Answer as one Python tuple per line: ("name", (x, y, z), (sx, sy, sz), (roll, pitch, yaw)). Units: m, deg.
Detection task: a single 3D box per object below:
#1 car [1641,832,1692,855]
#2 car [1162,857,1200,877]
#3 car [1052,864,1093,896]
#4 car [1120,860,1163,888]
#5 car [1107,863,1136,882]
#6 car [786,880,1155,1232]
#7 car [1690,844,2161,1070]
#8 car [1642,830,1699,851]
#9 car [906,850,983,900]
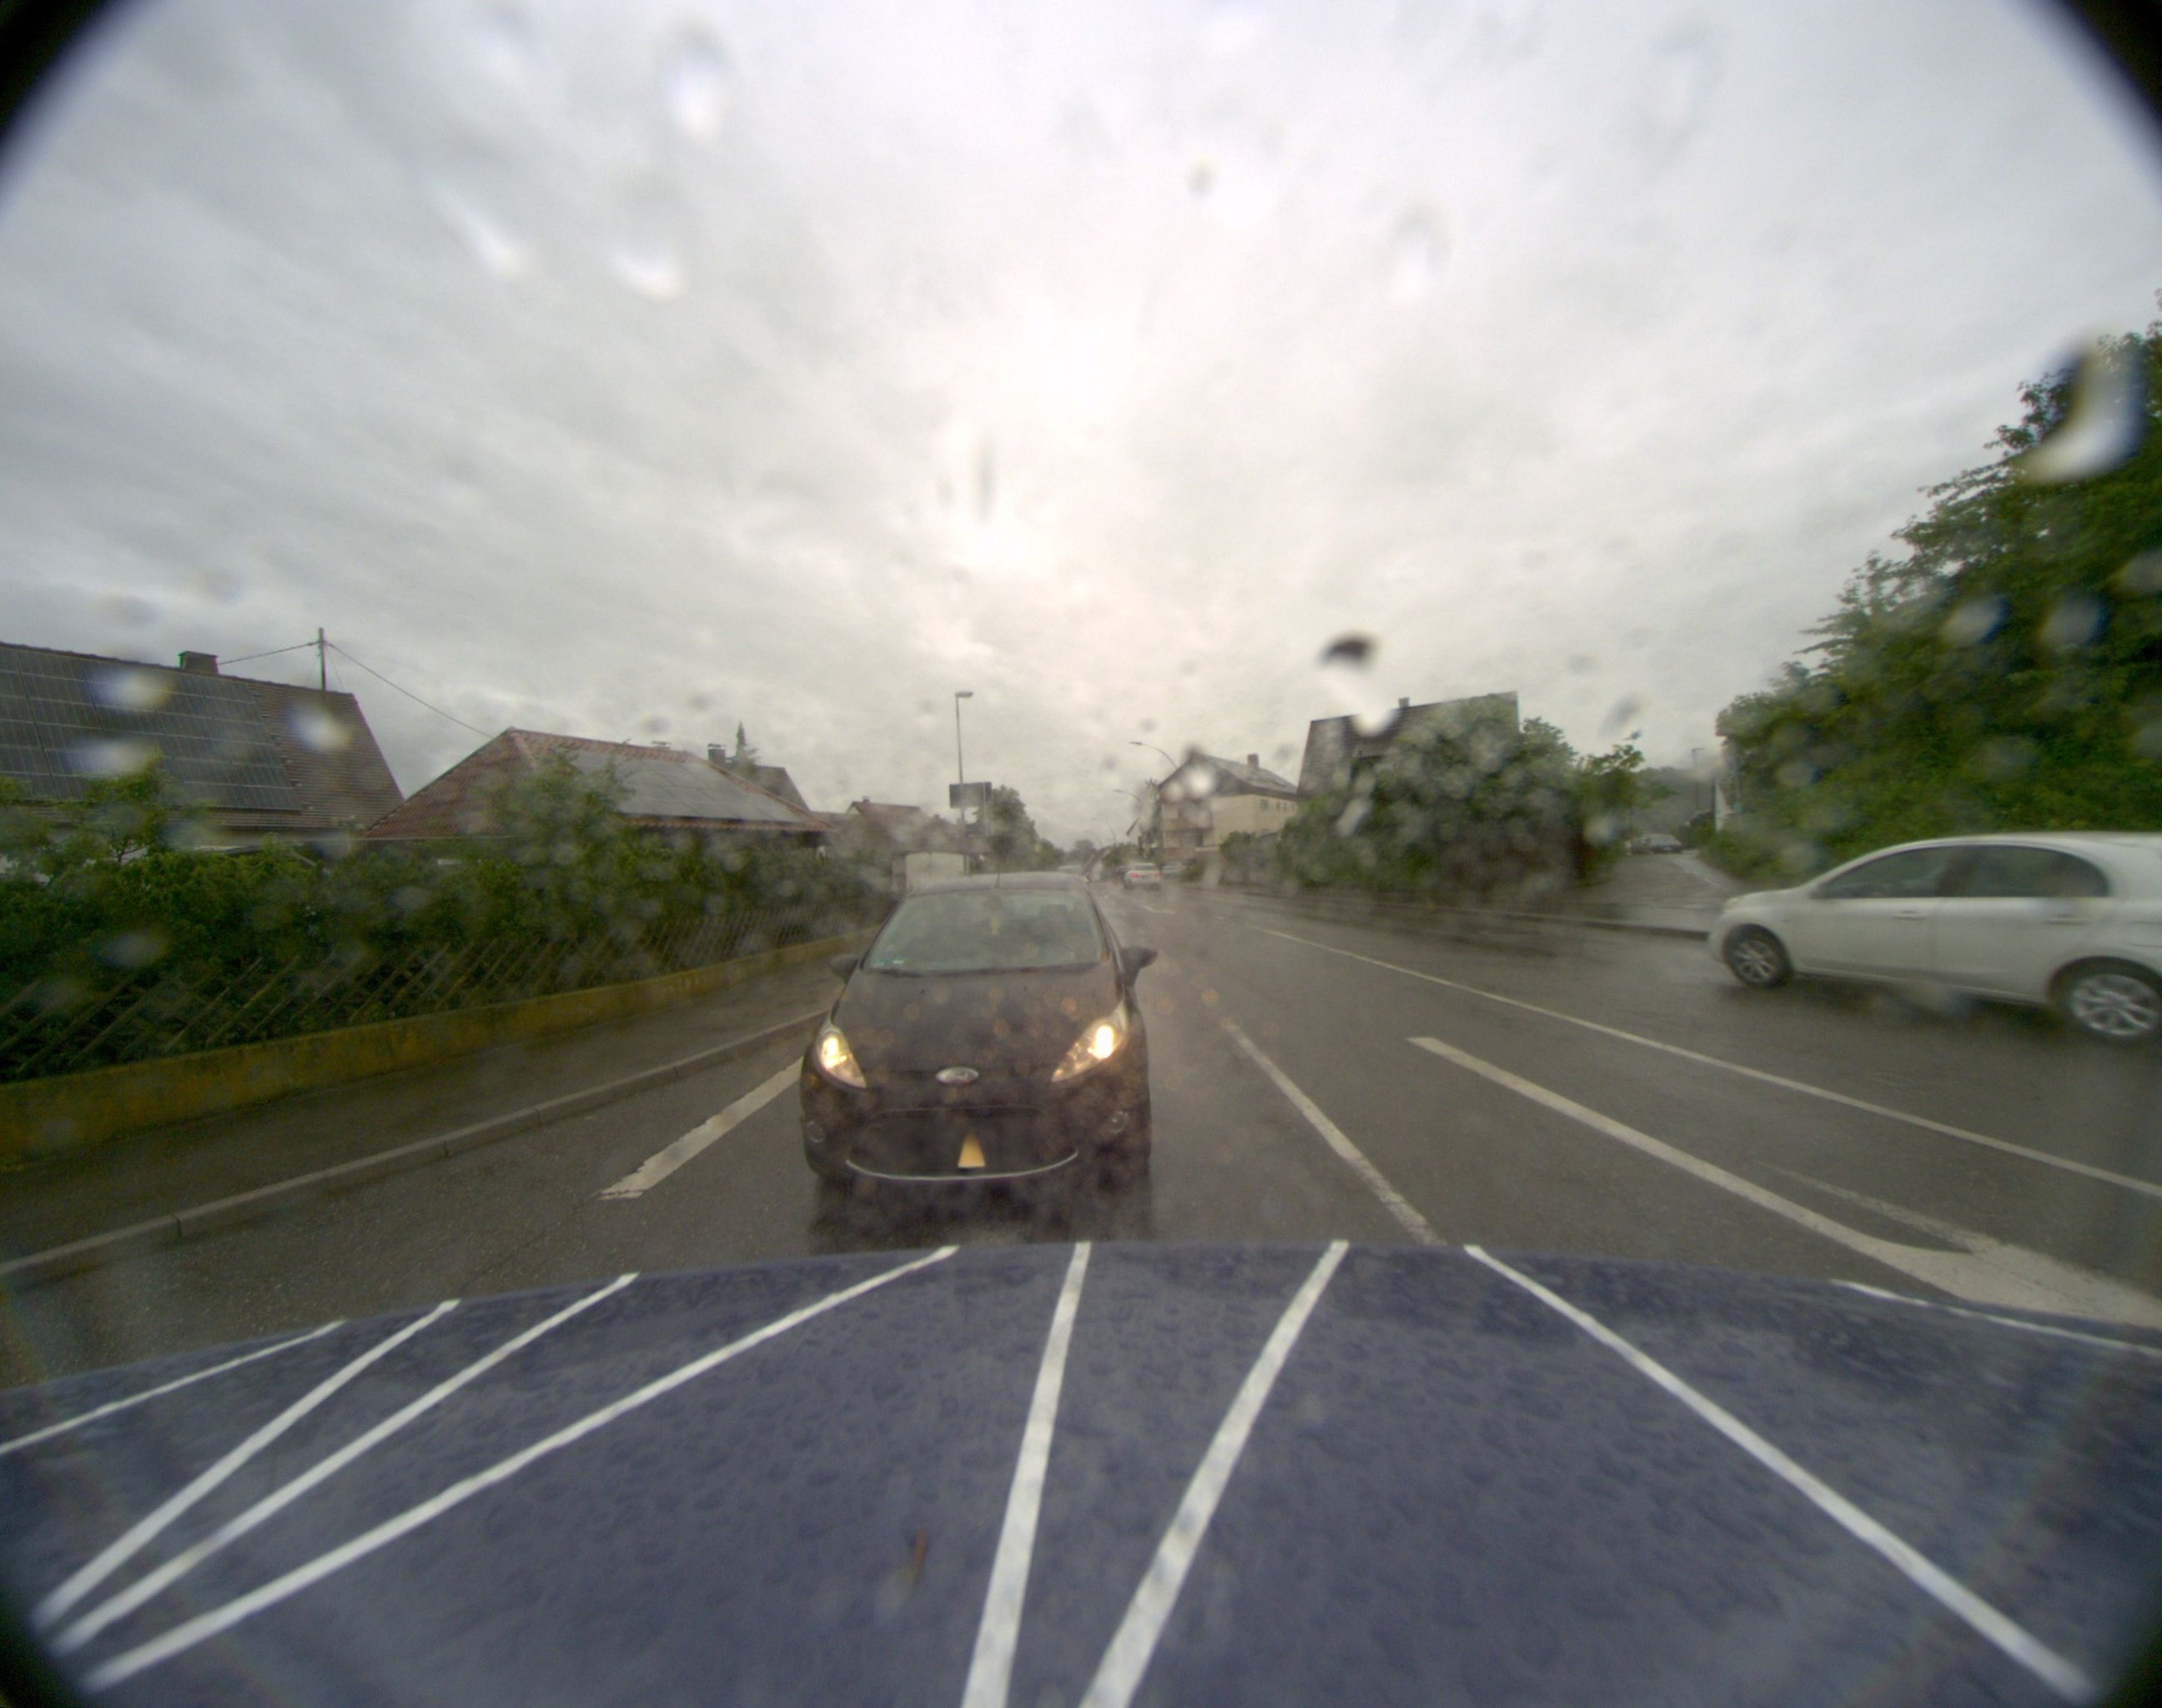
("car", (40.754, -0.745, 52.974), (1.895, 1.474, 4.007), (-2, 0, 24))
("car", (8.819, 1.106, 66.891), (1.661, 1.538, 4.007), (-2, 1, 34))
("car", (-0.475, 1.273, 38.476), (1.899, 1.474, 3.999), (-2, 0, -3))
("car", (3.557, 1.134, 45.398), (1.669, 1.496, 4.319), (-3, 0, -6))
("car", (3.364, 1.546, 63.075), (1.670, 1.430, 4.105), (0, 0, -8))
("car", (-0.556, 1.012, 5.526), (1.666, 1.410, 3.931), (-2, 1, -1))
("car", (7.777, 0.682, 6.587), (1.625, 1.496, 3.820), (-1, 0, -8))
("car", (45.588, -1.009, 58.858), (1.997, 1.477, 4.004), (-3, 0, 13))
("car", (-6.871, 1.007, 38.677), (1.650, 2.337, 4.007), (-2, 0, 27))
